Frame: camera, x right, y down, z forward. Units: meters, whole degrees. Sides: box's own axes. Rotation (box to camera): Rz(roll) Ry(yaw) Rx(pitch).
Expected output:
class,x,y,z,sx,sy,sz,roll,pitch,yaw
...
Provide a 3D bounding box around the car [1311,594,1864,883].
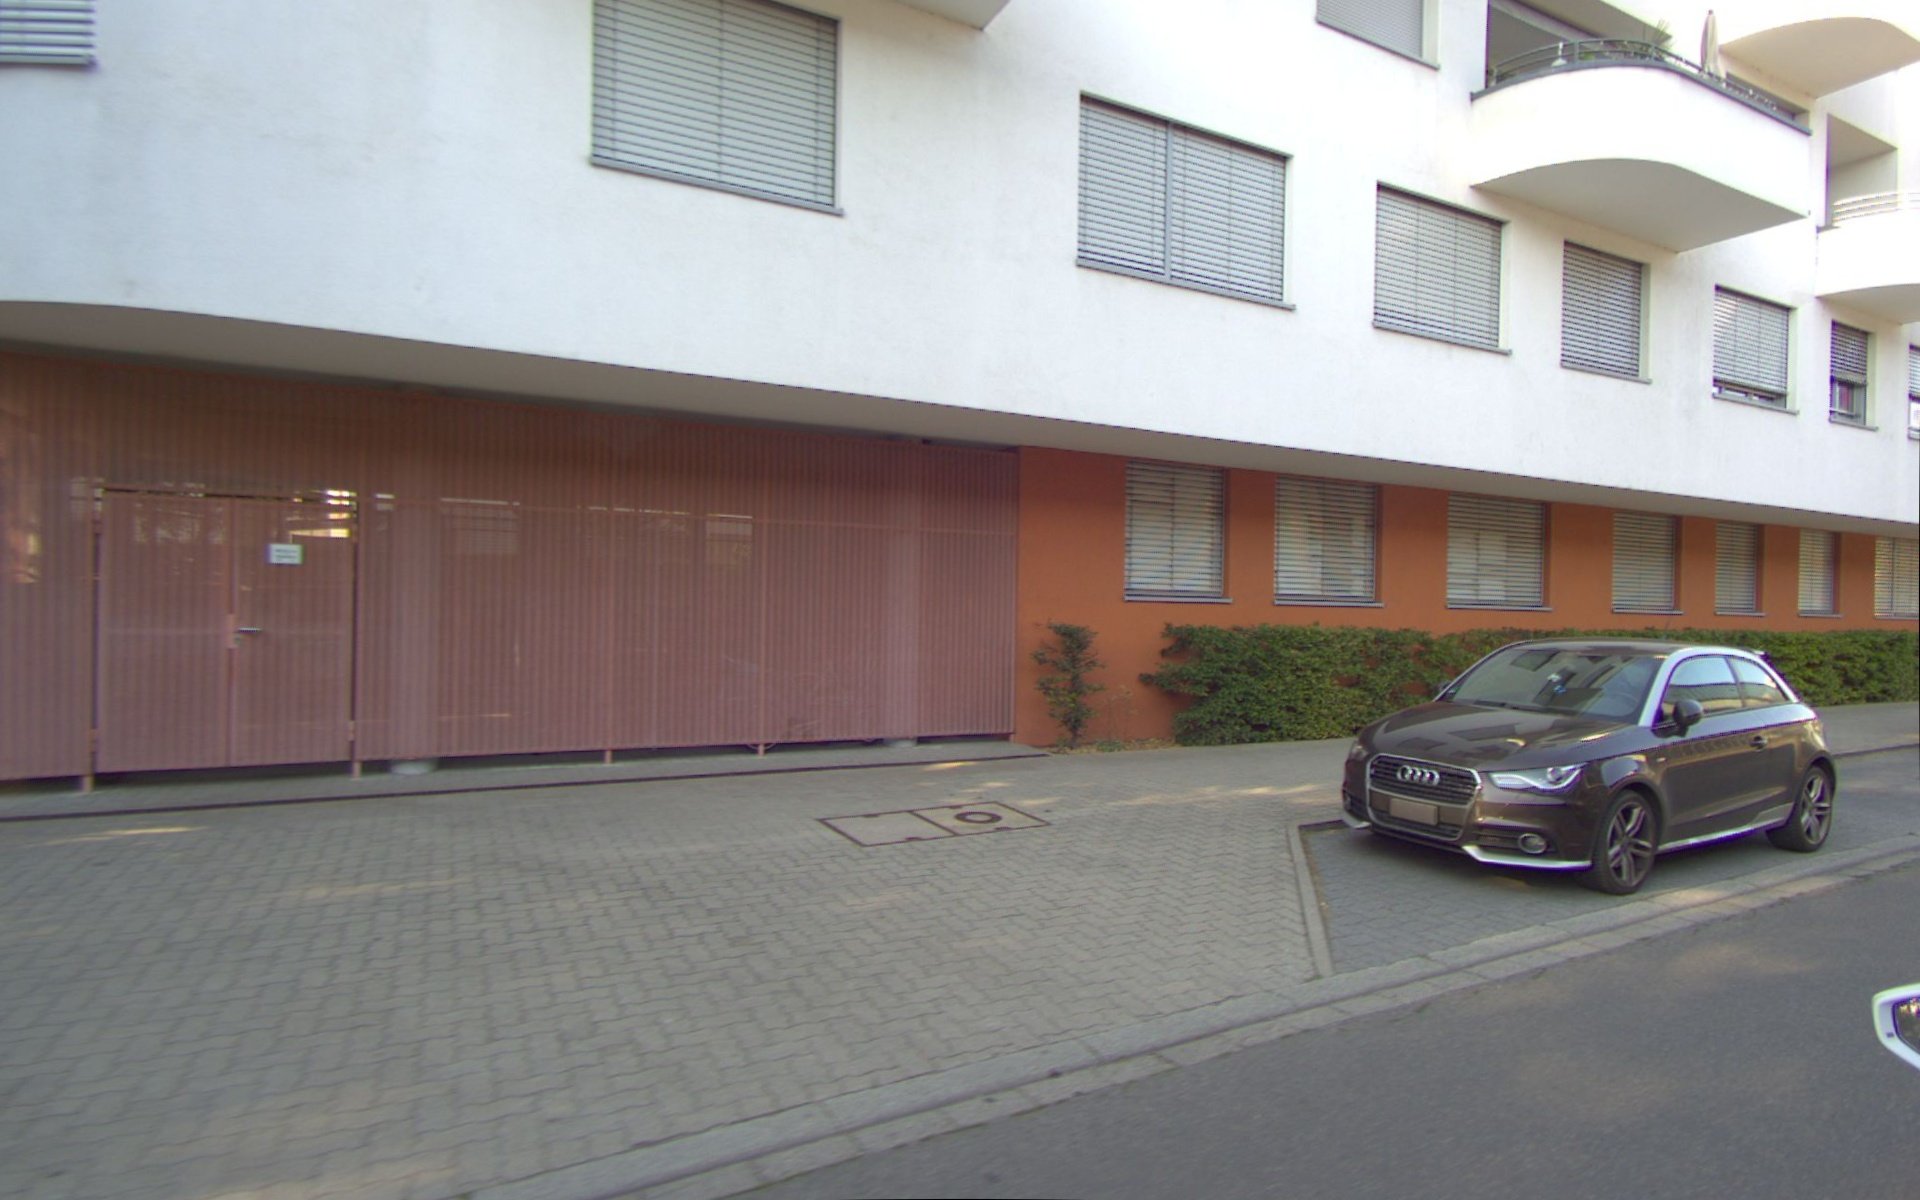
class,x,y,z,sx,sy,sz,roll,pitch,yaw
car,4.390,0.776,6.939,3.727,1.452,1.666,2,2,-31

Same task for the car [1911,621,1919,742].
class,x,y,z,sx,sy,sz,roll,pitch,yaw
car,14.372,1.068,13.017,4.571,1.608,1.847,2,2,-32
